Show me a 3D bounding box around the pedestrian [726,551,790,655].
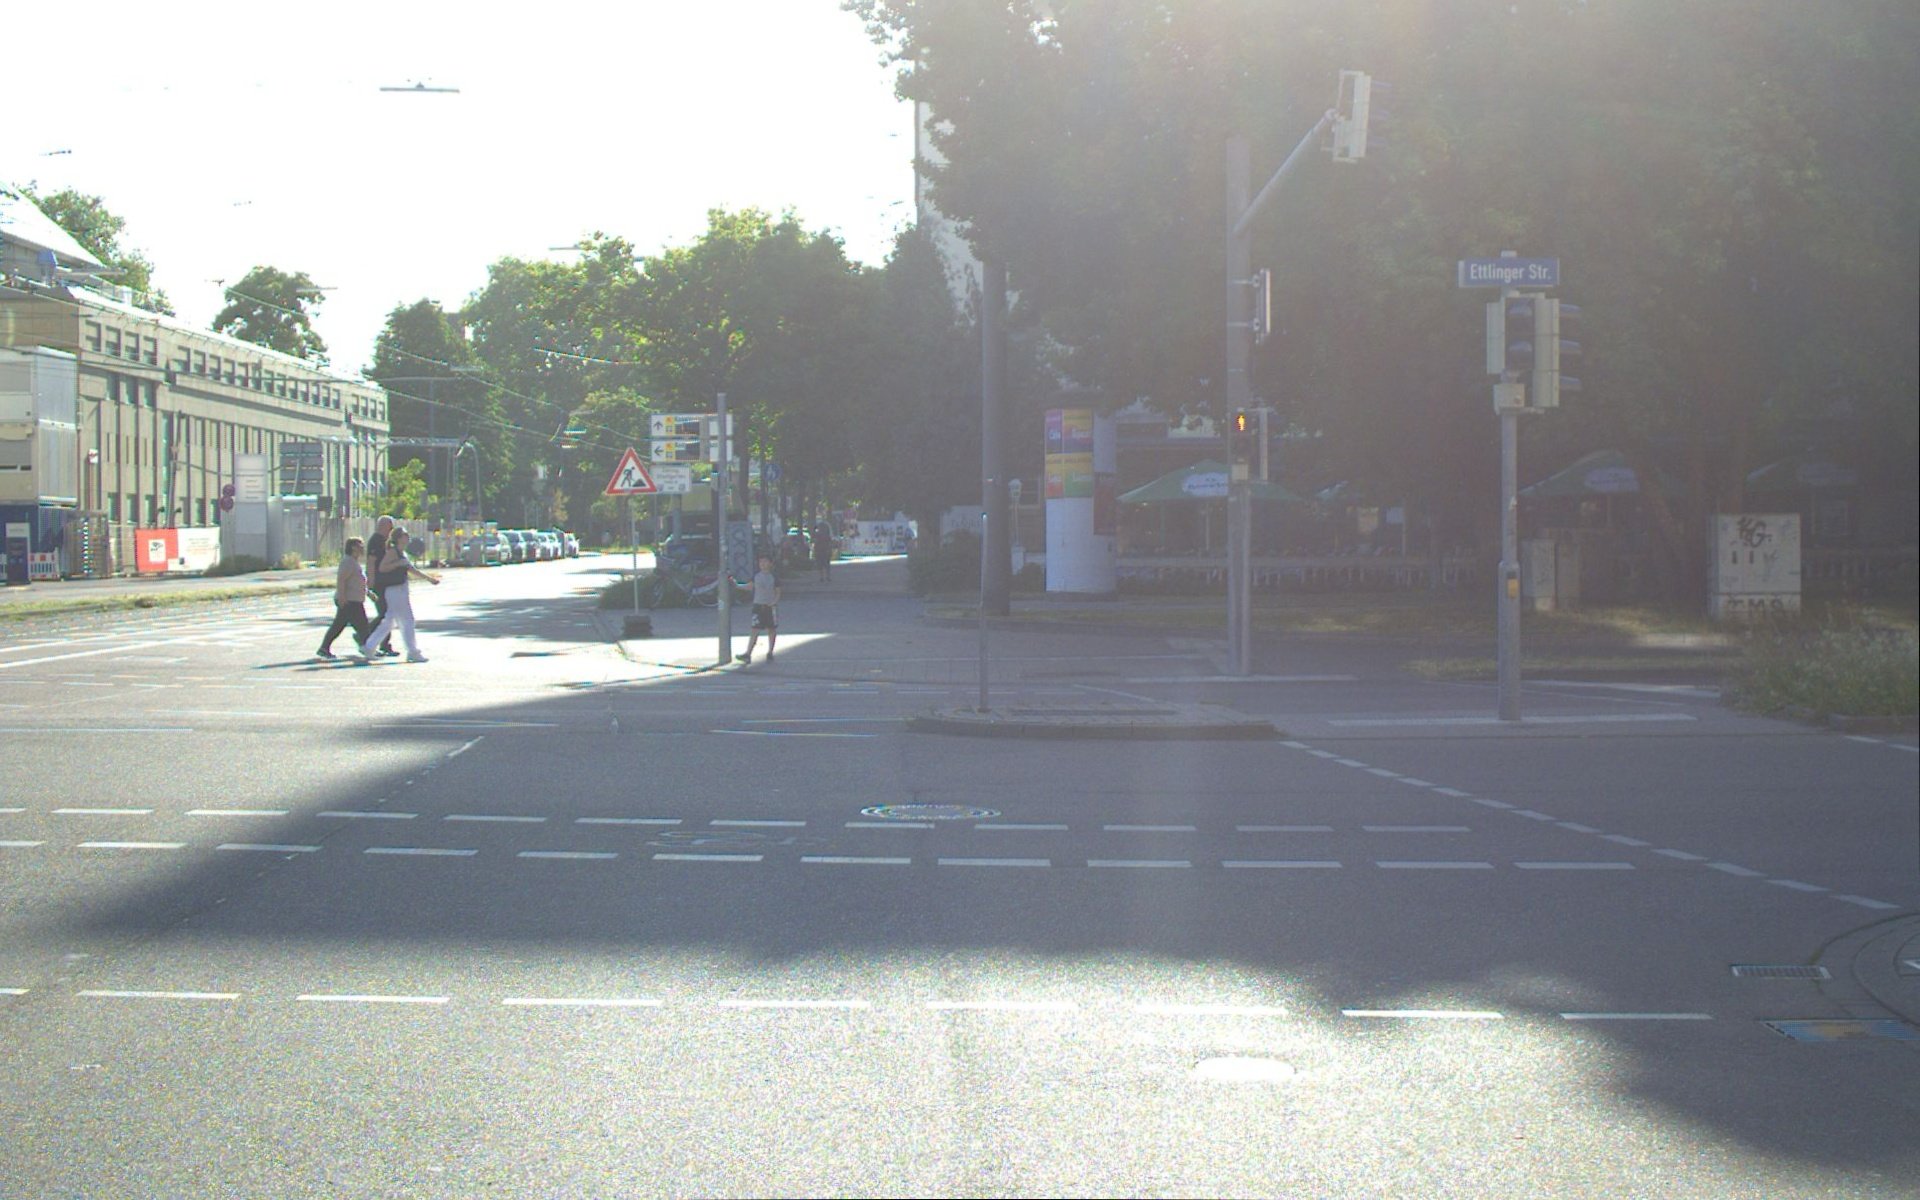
[{"bbox_3d":[-2.610,0.030,44.465,0.752,1.328,0.742,0,1,1],"label":"pedestrian"}]

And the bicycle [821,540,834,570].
[{"bbox_3d":[-3.821,-1.296,99.014,0.324,0.865,1.483,-1,1,-1],"label":"bicycle"}]

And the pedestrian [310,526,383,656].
[{"bbox_3d":[-7.775,-0.123,43.598,0.795,1.634,0.533,0,1,2],"label":"pedestrian"}]

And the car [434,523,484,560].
[{"bbox_3d":[-22.702,-2.647,155.933,1.731,1.647,4.000,0,1,-1],"label":"car"}]

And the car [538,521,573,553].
[{"bbox_3d":[-22.826,-3.566,194.116,1.483,1.744,4.000,-1,1,-1],"label":"car"}]

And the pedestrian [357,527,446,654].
[{"bbox_3d":[-7.025,-0.118,43.245,0.984,1.582,0.660,0,0,1],"label":"pedestrian"}]

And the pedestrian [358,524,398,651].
[{"bbox_3d":[-7.602,-0.164,44.900,0.441,1.657,0.376,-1,1,-1],"label":"pedestrian"}]

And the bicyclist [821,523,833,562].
[{"bbox_3d":[-3.828,-1.661,98.850,0.318,1.123,0.291,-1,1,-1],"label":"bicyclist"}]

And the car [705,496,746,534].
[{"bbox_3d":[-12.930,-4.675,189.660,1.993,2.007,4.000,-1,1,-1],"label":"car"}]

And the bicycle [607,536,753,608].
[{"bbox_3d":[-5.466,-0.548,67.144,2.748,1.363,0.630,1,0,11],"label":"bicycle"}]

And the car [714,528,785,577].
[{"bbox_3d":[-5.571,-1.267,91.268,1.819,1.274,4.001,0,1,-3],"label":"car"}]

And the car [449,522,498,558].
[{"bbox_3d":[-22.625,-2.779,160.089,1.731,1.647,4.000,0,1,-1],"label":"car"}]
